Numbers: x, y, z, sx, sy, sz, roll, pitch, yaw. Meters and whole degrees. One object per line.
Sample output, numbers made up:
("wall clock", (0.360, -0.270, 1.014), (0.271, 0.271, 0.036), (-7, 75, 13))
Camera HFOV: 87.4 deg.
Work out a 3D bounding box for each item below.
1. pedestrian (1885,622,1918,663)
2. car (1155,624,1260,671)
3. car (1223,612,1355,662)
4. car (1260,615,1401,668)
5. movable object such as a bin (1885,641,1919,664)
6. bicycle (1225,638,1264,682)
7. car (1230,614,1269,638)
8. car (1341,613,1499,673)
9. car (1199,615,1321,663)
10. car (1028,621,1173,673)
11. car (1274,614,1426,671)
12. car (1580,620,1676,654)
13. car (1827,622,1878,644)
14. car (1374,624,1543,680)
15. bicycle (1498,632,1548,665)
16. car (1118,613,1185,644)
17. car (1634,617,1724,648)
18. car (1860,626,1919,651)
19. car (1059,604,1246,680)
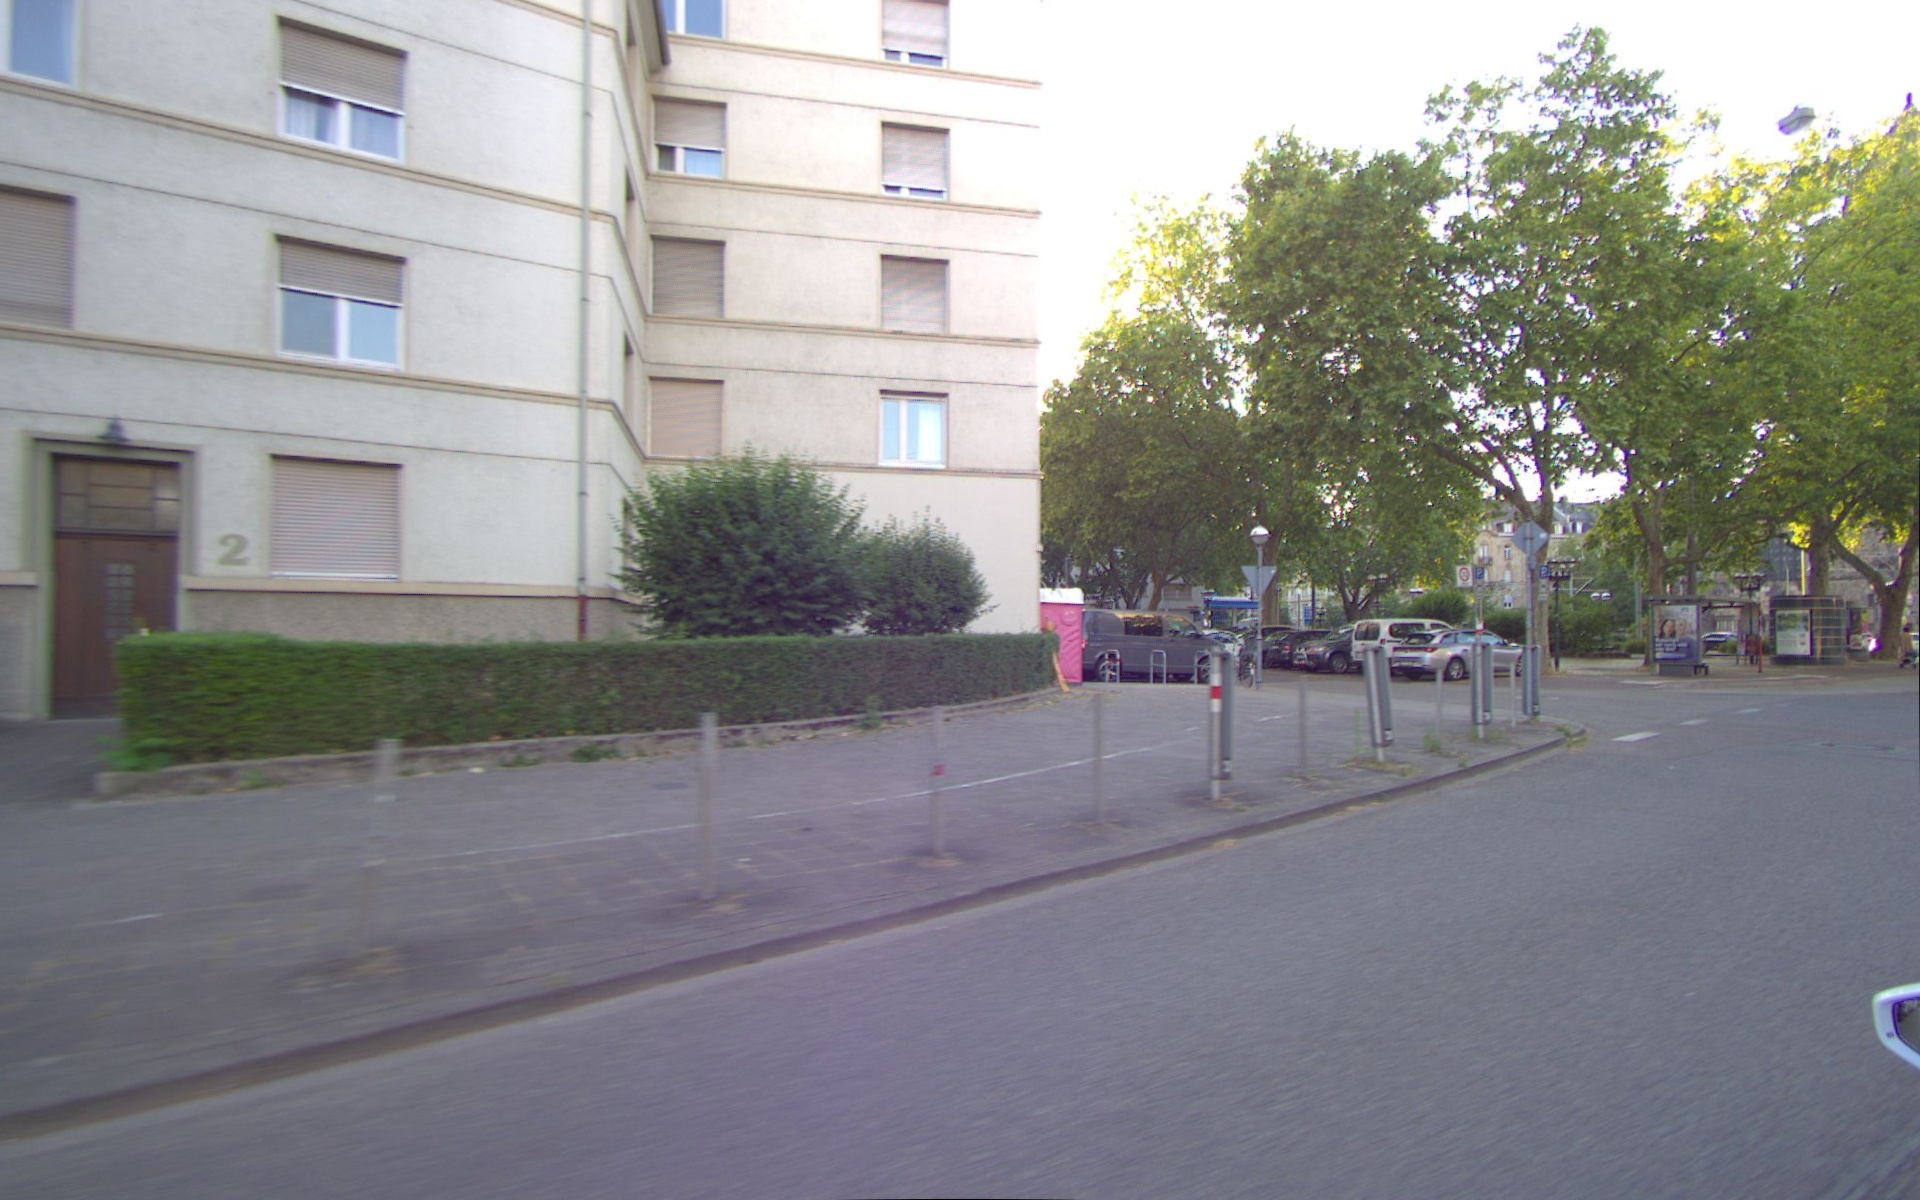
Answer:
("pedestrian", (38.456, 1.721, 41.029), (0.675, 1.650, 0.737), (0, -1, -21))
("car", (8.751, 1.641, 35.840), (1.966, 1.539, 3.988), (0, -1, -15))
("car", (13.051, 1.455, 39.955), (4.552, 1.866, 2.080), (0, -1, -14))
("car", (13.773, 1.516, 37.471), (4.552, 1.866, 2.080), (0, -1, -14))
("movable object such as a bin", (37.840, 2.099, 40.275), (0.968, 0.902, 0.737), (0, -1, -21))
("bicycle", (7.230, 1.498, 25.590), (0.470, 1.056, 1.824), (0, -1, 0))
("car", (27.868, 2.496, 96.804), (1.897, 2.290, 4.331), (1, -2, -10))
("car", (15.071, 1.375, 32.949), (4.552, 1.824, 1.820), (0, -1, -14))
("car", (12.663, 1.623, 42.506), (4.551, 1.866, 2.080), (0, -1, -13))
("car", (4.543, 1.519, 32.727), (4.265, 1.616, 2.044), (1, -1, -14))
("car", (13.588, 1.454, 35.087), (4.552, 1.866, 2.080), (0, -1, -14))
("car", (39.606, 2.175, 59.597), (4.549, 1.866, 2.081), (-1, -1, -11))
("car", (81.769, 3.019, 92.007), (3.431, 1.935, 1.710), (0, -1, -9))
("car", (14.751, 1.489, 29.718), (4.559, 1.501, 1.817), (0, -1, -20))
("bicycle", (19.339, 1.663, 34.494), (1.564, 1.088, 0.402), (0, -1, -8))
("car", (15.071, 2.245, 79.189), (4.764, 2.322, 1.995), (1, -1, -14))
("car", (45.581, 2.026, 63.752), (4.549, 1.866, 2.081), (-1, -1, -11))
("car", (59.720, 2.390, 63.121), (1.987, 1.550, 4.584), (1, -2, -44))
("car", (5.372, 1.171, 28.186), (4.762, 1.999, 1.996), (1, -1, -13))
